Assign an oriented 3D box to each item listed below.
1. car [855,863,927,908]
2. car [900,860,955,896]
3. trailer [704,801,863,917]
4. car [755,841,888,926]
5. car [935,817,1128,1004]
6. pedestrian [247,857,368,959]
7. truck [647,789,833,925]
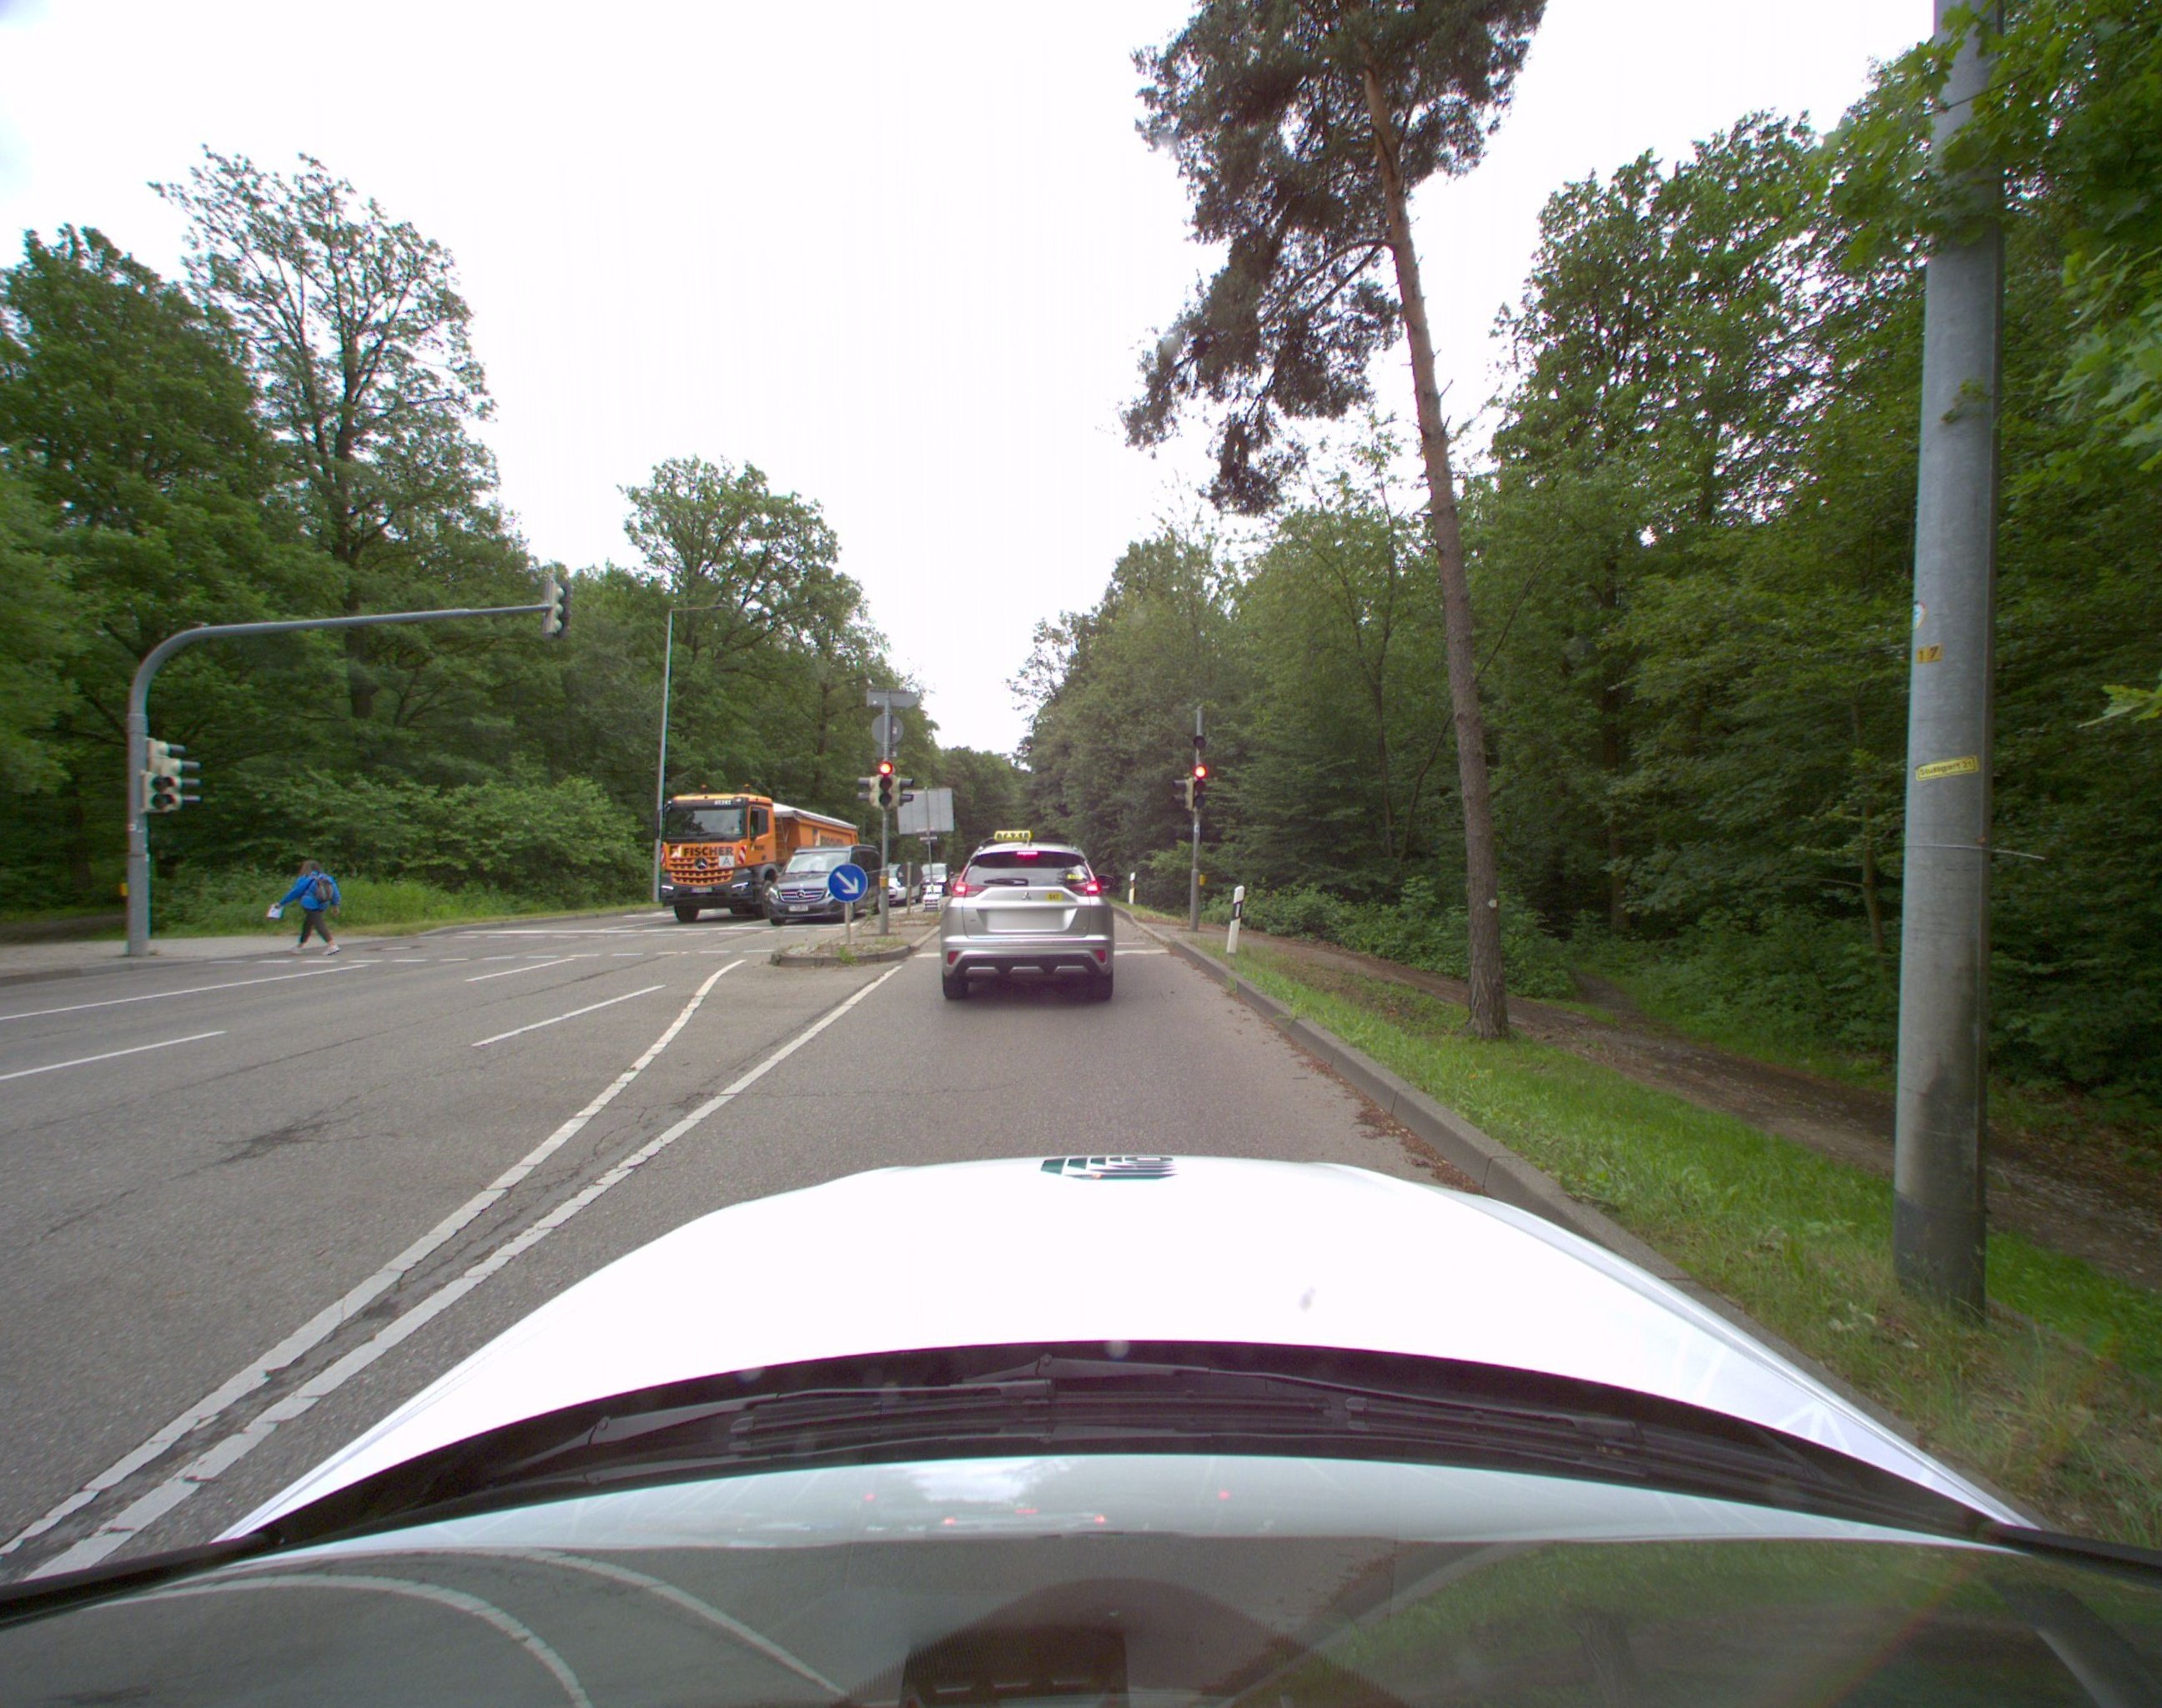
[{"bbox_3d":[-6.502,1.042,28.269,1.607,1.321,3.720,-3,0,-1],"label":"car"},{"bbox_3d":[-7.067,1.090,37.841,1.806,1.508,3.720,-3,-1,-1],"label":"car"},{"bbox_3d":[-9.816,0.211,28.034,2.733,3.318,8.557,-2,-1,-3],"label":"trailer"},{"bbox_3d":[-6.531,0.706,21.109,1.988,1.894,4.834,-2,-1,-2],"label":"car"},{"bbox_3d":[-0.569,0.516,9.809,1.842,1.780,3.996,0,0,-3],"label":"car"},{"bbox_3d":[-13.343,0.903,14.080,1.042,1.649,1.070,1,0,5],"label":"pedestrian"},{"bbox_3d":[-9.573,0.128,23.839,2.733,3.318,7.150,-2,-1,-3],"label":"truck"}]
